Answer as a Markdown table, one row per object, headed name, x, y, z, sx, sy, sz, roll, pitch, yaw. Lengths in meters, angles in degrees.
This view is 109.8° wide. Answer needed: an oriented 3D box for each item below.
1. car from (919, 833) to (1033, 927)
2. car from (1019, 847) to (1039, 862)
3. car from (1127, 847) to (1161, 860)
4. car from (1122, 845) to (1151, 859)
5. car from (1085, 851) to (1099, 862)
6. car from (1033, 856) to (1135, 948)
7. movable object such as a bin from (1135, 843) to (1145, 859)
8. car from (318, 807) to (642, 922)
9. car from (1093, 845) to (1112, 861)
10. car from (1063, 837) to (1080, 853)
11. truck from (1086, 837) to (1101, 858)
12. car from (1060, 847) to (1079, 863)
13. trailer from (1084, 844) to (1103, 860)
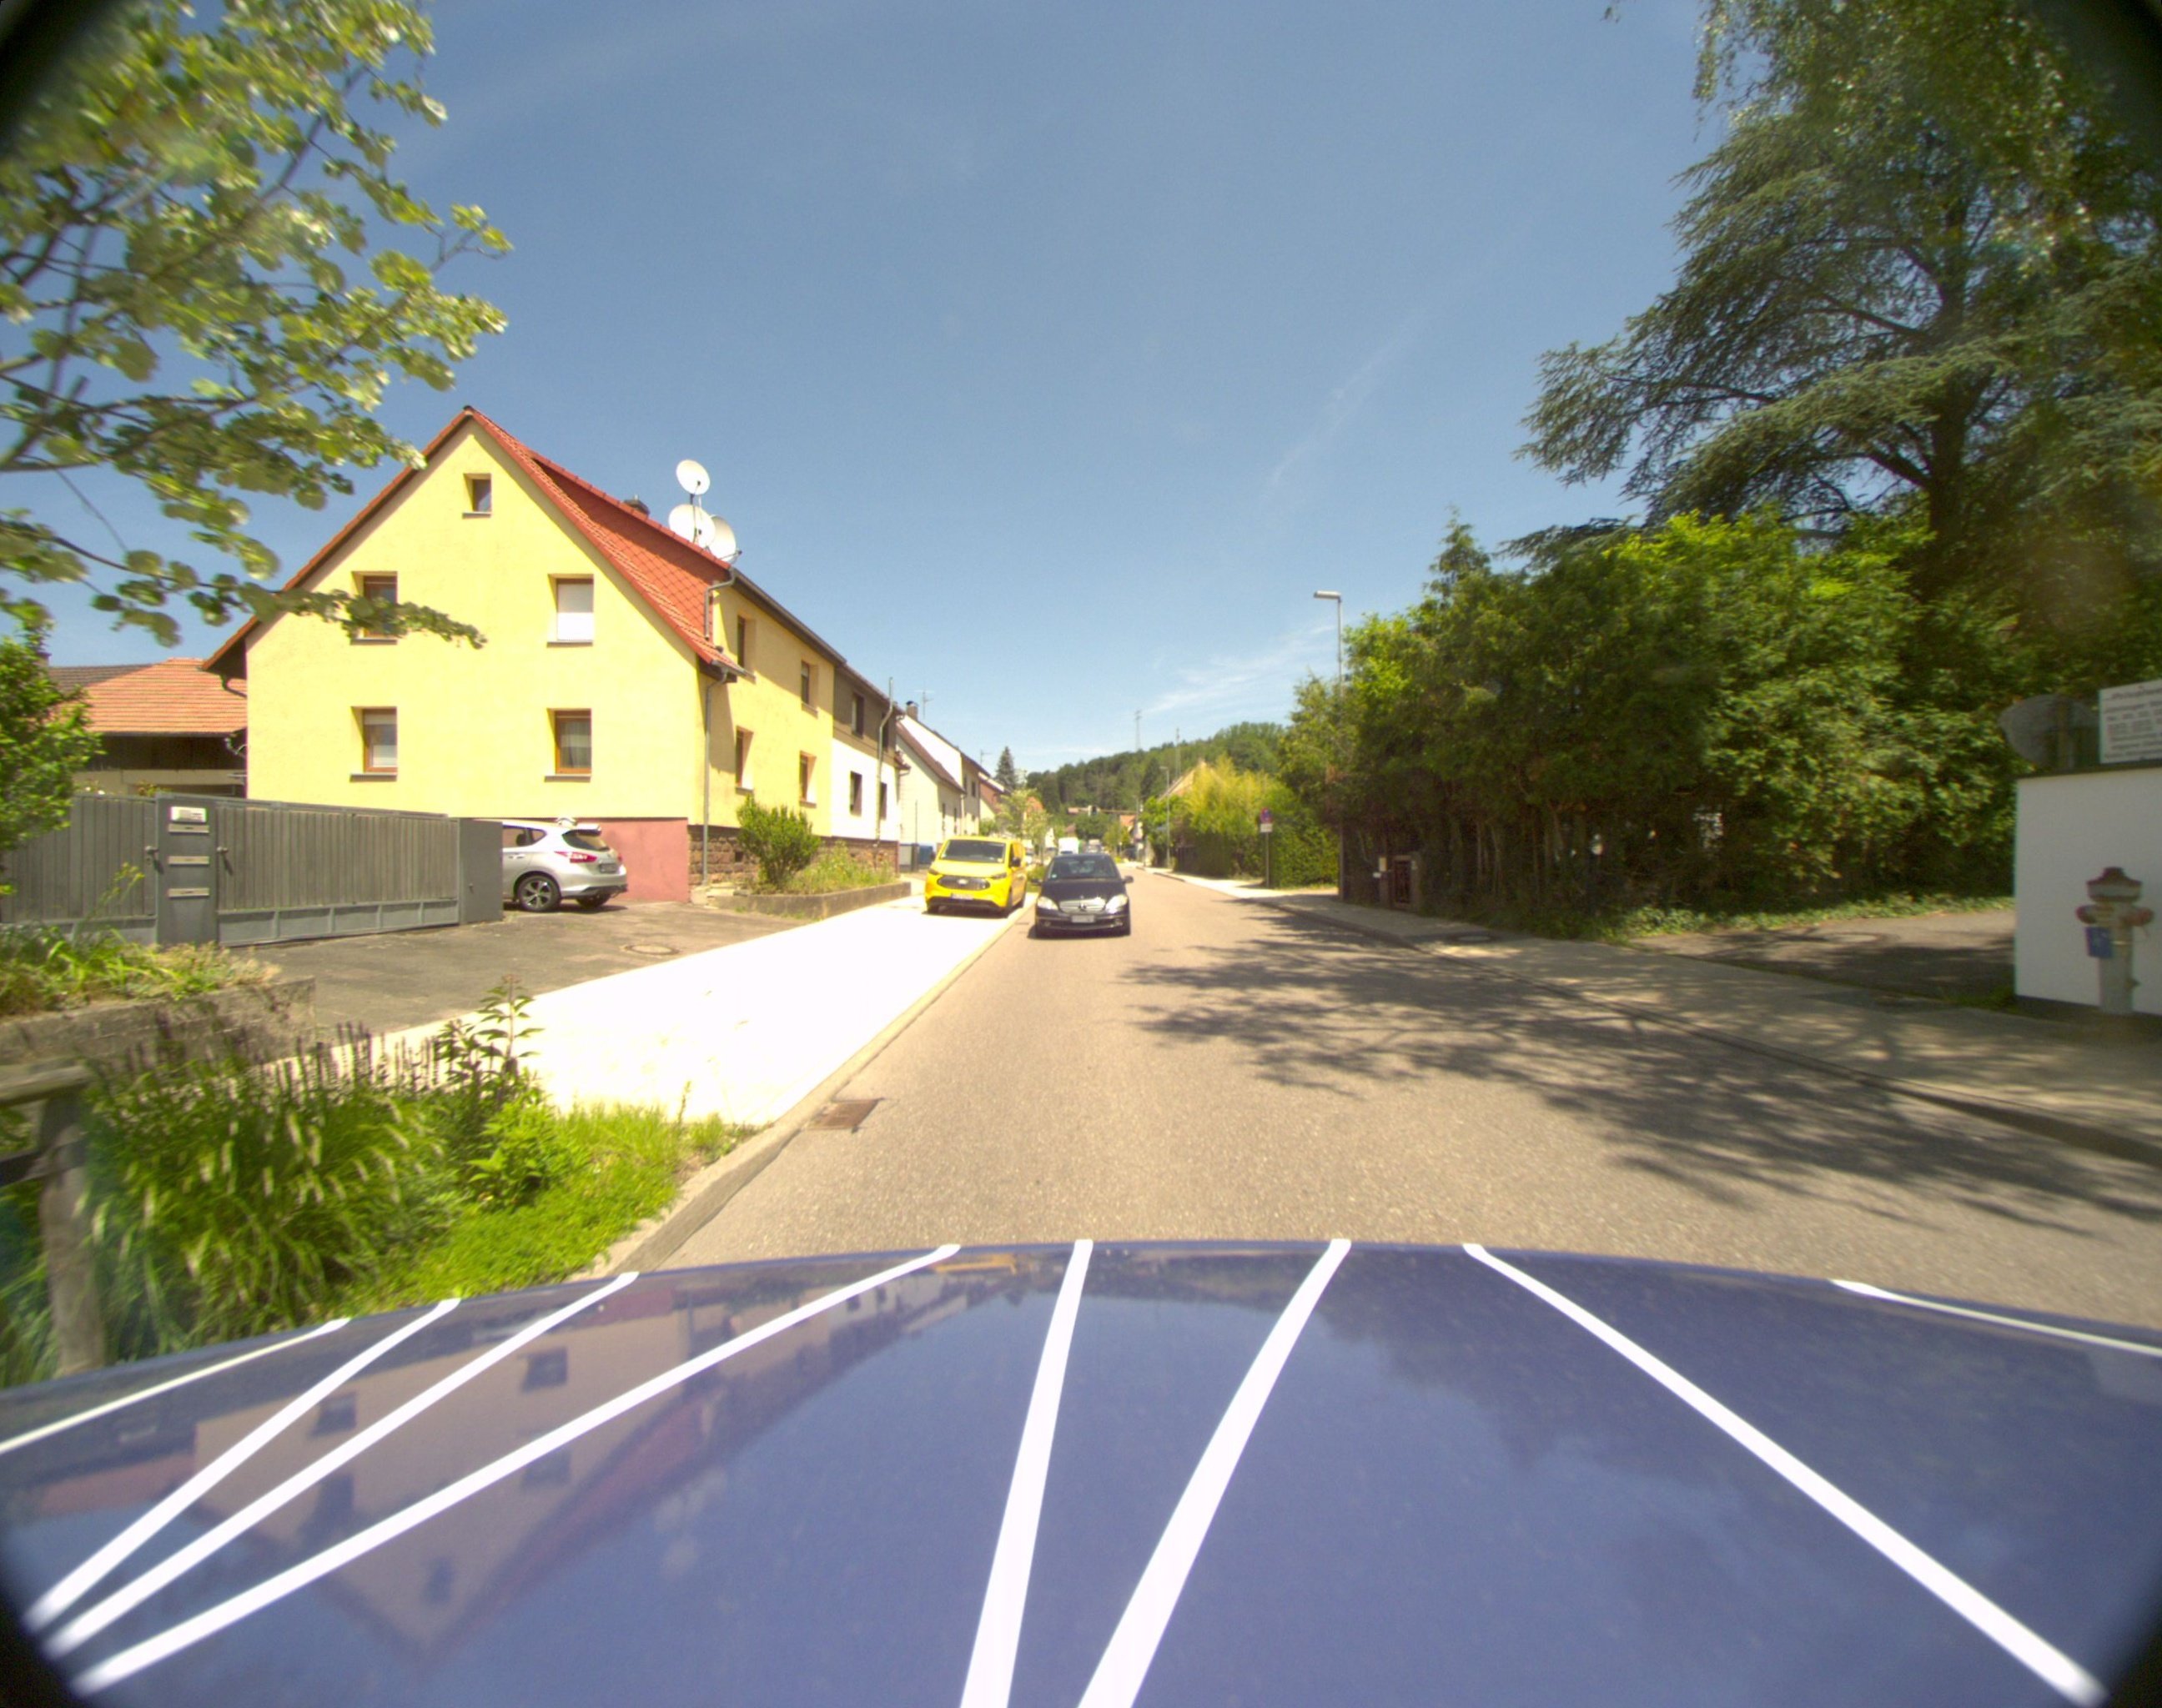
| name | x | y | z | sx | sy | sz | roll | pitch | yaw |
| --- | --- | --- | --- | --- | --- | --- | --- | --- | --- |
| car | -2.560 | 0.539 | 20.053 | 2.195 | 2.002 | 5.621 | 4 | 1 | -1 |
| car | -6.225 | -0.005 | 91.272 | 1.867 | 1.612 | 4.507 | 3 | 1 | 1 |
| car | 8.100 | -0.050 | 97.533 | 4.040 | 1.491 | 1.707 | -1 | 2 | 39 |
| car | 7.441 | -0.259 | 101.742 | 3.606 | 1.780 | 1.848 | -2 | 1 | -1 |
| car | 1.493 | 0.334 | 105.703 | 1.771 | 1.395 | 4.245 | -2 | 3 | -2 |
| car | 0.121 | 0.861 | 16.016 | 1.767 | 1.572 | 4.931 | -2 | 0 | 1 |
| movable object such as a bin | 7.398 | -0.379 | 95.842 | 1.062 | 2.002 | 1.323 | -2 | 2 | 0 |
| car | -10.147 | 0.172 | 13.093 | 3.998 | 1.667 | 1.873 | 3 | 1 | -2 |
| car | 2.282 | -0.111 | 81.258 | 1.872 | 1.643 | 3.948 | -2 | 0 | 0 |
| car | -1.308 | -1.326 | 107.276 | 1.986 | 2.170 | 4.000 | -2 | 1 | 3 |
| truck | 2.371 | -1.188 | 137.304 | 2.548 | 3.716 | 8.622 | 0 | 1 | 2 |
| car | -1.298 | 0.107 | 85.189 | 1.999 | 1.716 | 3.999 | -2 | 1 | -1 |
| trailer | 1.627 | -0.322 | 100.363 | 2.161 | 1.975 | 6.199 | -2 | 1 | -2 |
